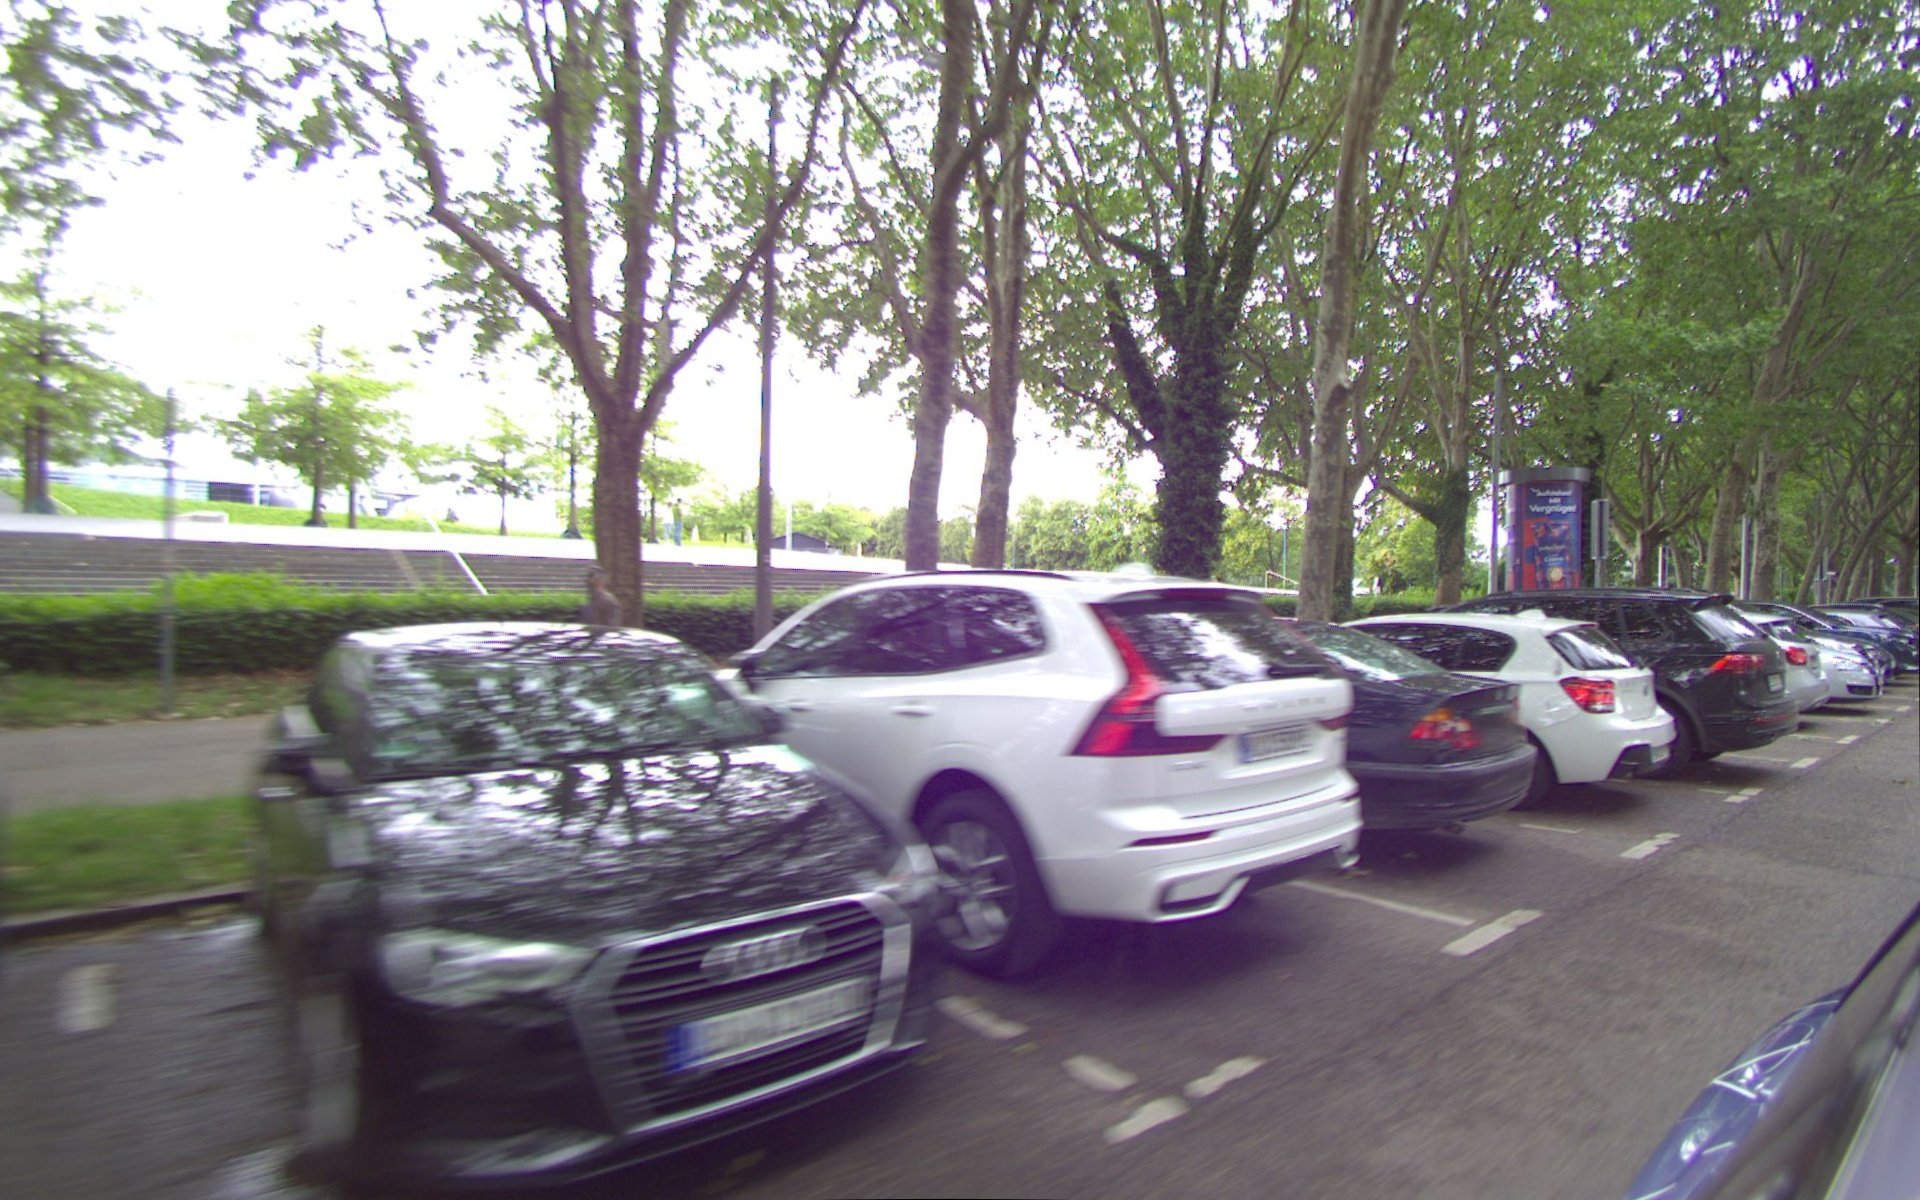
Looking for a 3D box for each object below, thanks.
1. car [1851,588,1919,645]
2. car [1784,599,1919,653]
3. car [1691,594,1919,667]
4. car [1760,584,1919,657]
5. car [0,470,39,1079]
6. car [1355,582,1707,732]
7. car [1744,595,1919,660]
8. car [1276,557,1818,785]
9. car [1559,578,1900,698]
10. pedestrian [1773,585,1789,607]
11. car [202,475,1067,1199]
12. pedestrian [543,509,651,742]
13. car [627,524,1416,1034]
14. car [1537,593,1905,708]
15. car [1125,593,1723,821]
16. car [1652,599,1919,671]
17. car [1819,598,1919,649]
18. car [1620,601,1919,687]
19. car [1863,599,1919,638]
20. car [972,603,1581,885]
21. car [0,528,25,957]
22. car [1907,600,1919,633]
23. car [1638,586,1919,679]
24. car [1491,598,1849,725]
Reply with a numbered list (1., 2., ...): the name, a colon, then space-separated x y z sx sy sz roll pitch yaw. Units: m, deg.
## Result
1. car: 31.517 0.532 32.213 2.011 1.819 4.503 1 -1 -40
2. car: 25.950 0.698 28.080 1.796 1.438 4.505 0 -1 -39
3. car: 19.897 0.667 23.508 1.888 1.521 4.361 1 -1 -33
4. car: 24.278 0.524 26.774 2.009 1.819 4.508 1 -1 -36
5. car: -3.643 0.609 2.379 1.964 2.039 3.994 1 -1 -40
6. car: 6.966 0.581 12.572 1.651 1.511 3.441 0 2 -41
7. car: 22.331 0.652 25.007 1.890 1.521 4.357 1 -1 -37
8. car: 5.638 0.515 10.178 1.892 1.783 4.353 0 1 -42
9. car: 12.880 0.578 17.177 1.805 1.768 4.352 1 -1 -42
10. pedestrian: 60.232 -0.270 74.259 0.685 1.587 0.725 0 0 -34
11. car: -1.779 0.606 4.142 1.891 1.625 4.354 1 -1 -40
12. pedestrian: -3.346 0.219 9.321 0.781 2.039 0.592 0 0 33
13. car: -0.075 0.602 5.585 1.891 1.654 4.354 1 -1 -40
14. car: 11.263 0.666 15.230 1.696 1.476 4.156 0 -1 -40
15. car: 3.749 0.714 8.815 1.916 1.475 4.352 1 -1 -42
16. car: 18.113 0.721 22.336 1.891 1.431 4.354 1 -1 -40
17. car: 27.976 0.662 29.278 1.898 1.446 4.504 0 -1 -40
18. car: 14.733 0.734 18.584 1.712 1.397 4.048 1 -1 -40
19. car: 38.665 0.724 40.085 1.755 1.538 4.199 1 -1 -43
20. car: 1.977 0.767 7.135 1.745 1.420 3.736 0 -1 -41
21. car: -3.576 0.548 2.279 1.891 1.654 4.354 1 -1 -40
22. car: 44.496 0.716 44.574 4.016 1.466 1.884 -1 -1 44
23. car: 16.579 0.613 20.315 1.838 1.660 4.602 1 -1 -38
24. car: 9.284 0.720 13.425 1.637 1.445 3.642 1 -1 -43
